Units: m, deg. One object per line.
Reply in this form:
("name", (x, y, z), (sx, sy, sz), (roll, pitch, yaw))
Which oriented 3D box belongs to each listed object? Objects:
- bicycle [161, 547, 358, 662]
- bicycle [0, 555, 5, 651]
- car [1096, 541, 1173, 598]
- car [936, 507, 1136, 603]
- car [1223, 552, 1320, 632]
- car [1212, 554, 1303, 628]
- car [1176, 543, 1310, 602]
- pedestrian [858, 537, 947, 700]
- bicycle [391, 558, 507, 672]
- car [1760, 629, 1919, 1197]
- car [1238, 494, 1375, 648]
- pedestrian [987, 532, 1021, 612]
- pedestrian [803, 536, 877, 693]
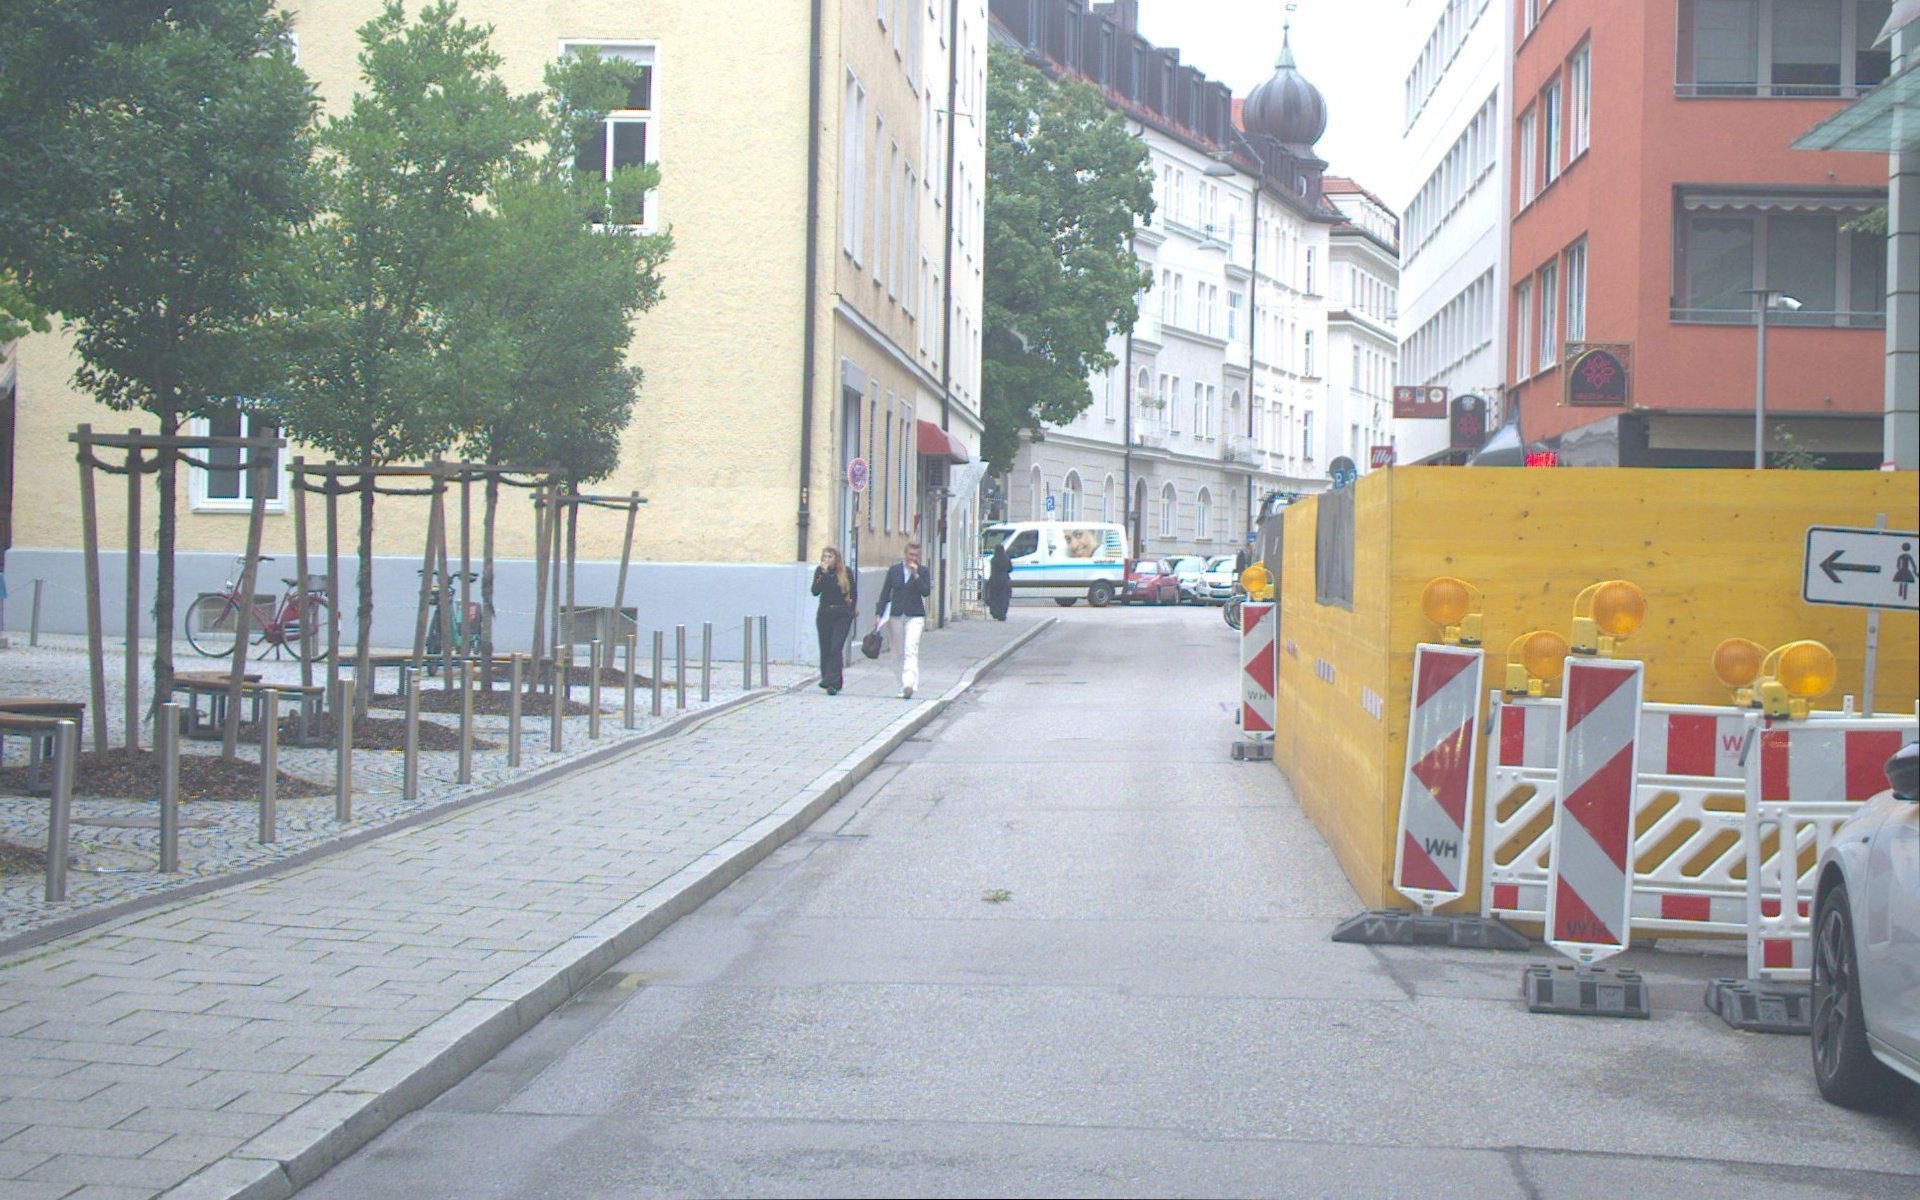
("bicycle", (-7.789, 0.044, 38.264), (2.044, 1.193, 0.570), (2, 1, 10))
("bicycle", (-11.546, -0.004, 38.204), (1.656, 1.065, 0.597), (3, 1, 7))
("car", (5.119, -0.896, 100.411), (1.692, 1.568, 3.998), (2, 1, 10))
("car", (2.054, -1.201, 92.768), (4.976, 2.390, 2.000), (2, 1, -29))
("car", (6.701, -0.196, 74.305), (1.788, 1.620, 4.273), (2, 1, 2))
("car", (6.800, -0.226, 78.965), (1.811, 1.557, 4.274), (3, 1, 2))
("car", (8.256, -0.799, 100.107), (1.696, 1.568, 3.989), (3, 1, 44))
("pedestrian", (-0.609, 0.189, 36.771), (0.839, 1.695, 0.803), (2, 0, 3))
("bicycle", (-5.375, 0.147, 36.287), (0.510, 1.141, 2.051), (3, 1, 11))
("car", (3.313, 0.853, 8.565), (1.708, 1.409, 4.509), (3, 0, 3))
("car", (6.062, -0.525, 60.605), (1.994, 2.528, 4.975), (2, 1, 2))
("pedestrian", (0.939, -0.587, 73.011), (0.634, 1.669, 0.517), (2, 1, 3))
("pedestrian", (-1.281, 0.147, 36.868), (0.670, 1.642, 0.761), (2, 0, 2))
